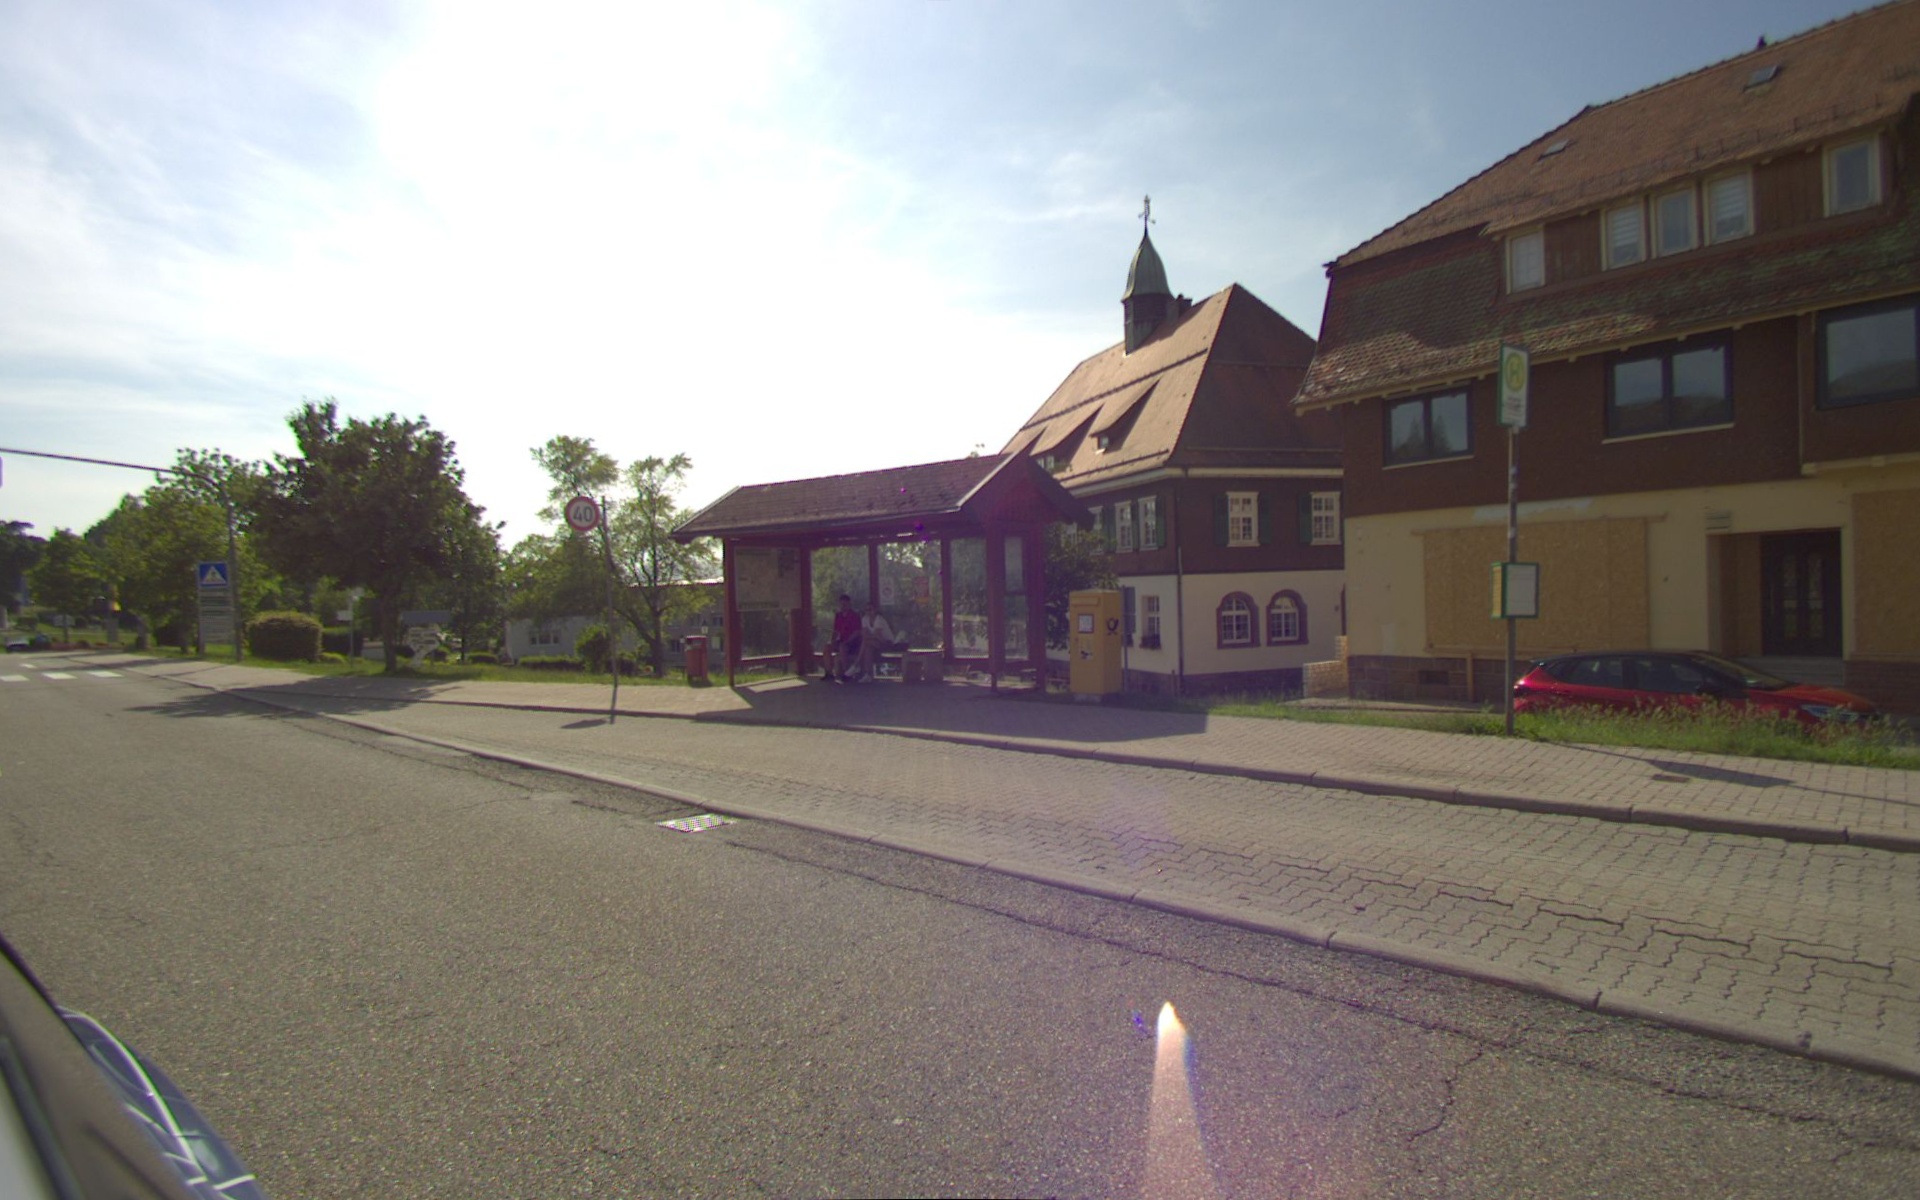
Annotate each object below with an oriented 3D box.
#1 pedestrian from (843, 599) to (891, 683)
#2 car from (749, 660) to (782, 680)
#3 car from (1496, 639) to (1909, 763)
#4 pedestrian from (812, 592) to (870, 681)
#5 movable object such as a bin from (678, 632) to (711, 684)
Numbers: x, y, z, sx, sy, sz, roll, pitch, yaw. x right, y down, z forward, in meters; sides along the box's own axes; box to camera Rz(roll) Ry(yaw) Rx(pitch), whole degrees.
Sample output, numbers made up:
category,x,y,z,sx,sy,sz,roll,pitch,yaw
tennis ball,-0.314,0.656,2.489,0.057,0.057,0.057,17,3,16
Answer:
category,x,y,z,sx,sy,sz,roll,pitch,yaw
pedestrian,-1.444,0.633,15.723,0.423,1.262,0.623,-1,-2,37
car,-16.439,5.902,85.510,1.543,1.652,2.978,1,-3,-36
car,9.472,1.186,13.230,1.698,1.307,4.010,1,-2,-35
pedestrian,-1.885,0.585,16.069,0.673,1.375,0.611,-3,-4,38
movable object such as a bin,-4.403,0.958,16.791,0.484,0.843,0.302,-1,-1,38
